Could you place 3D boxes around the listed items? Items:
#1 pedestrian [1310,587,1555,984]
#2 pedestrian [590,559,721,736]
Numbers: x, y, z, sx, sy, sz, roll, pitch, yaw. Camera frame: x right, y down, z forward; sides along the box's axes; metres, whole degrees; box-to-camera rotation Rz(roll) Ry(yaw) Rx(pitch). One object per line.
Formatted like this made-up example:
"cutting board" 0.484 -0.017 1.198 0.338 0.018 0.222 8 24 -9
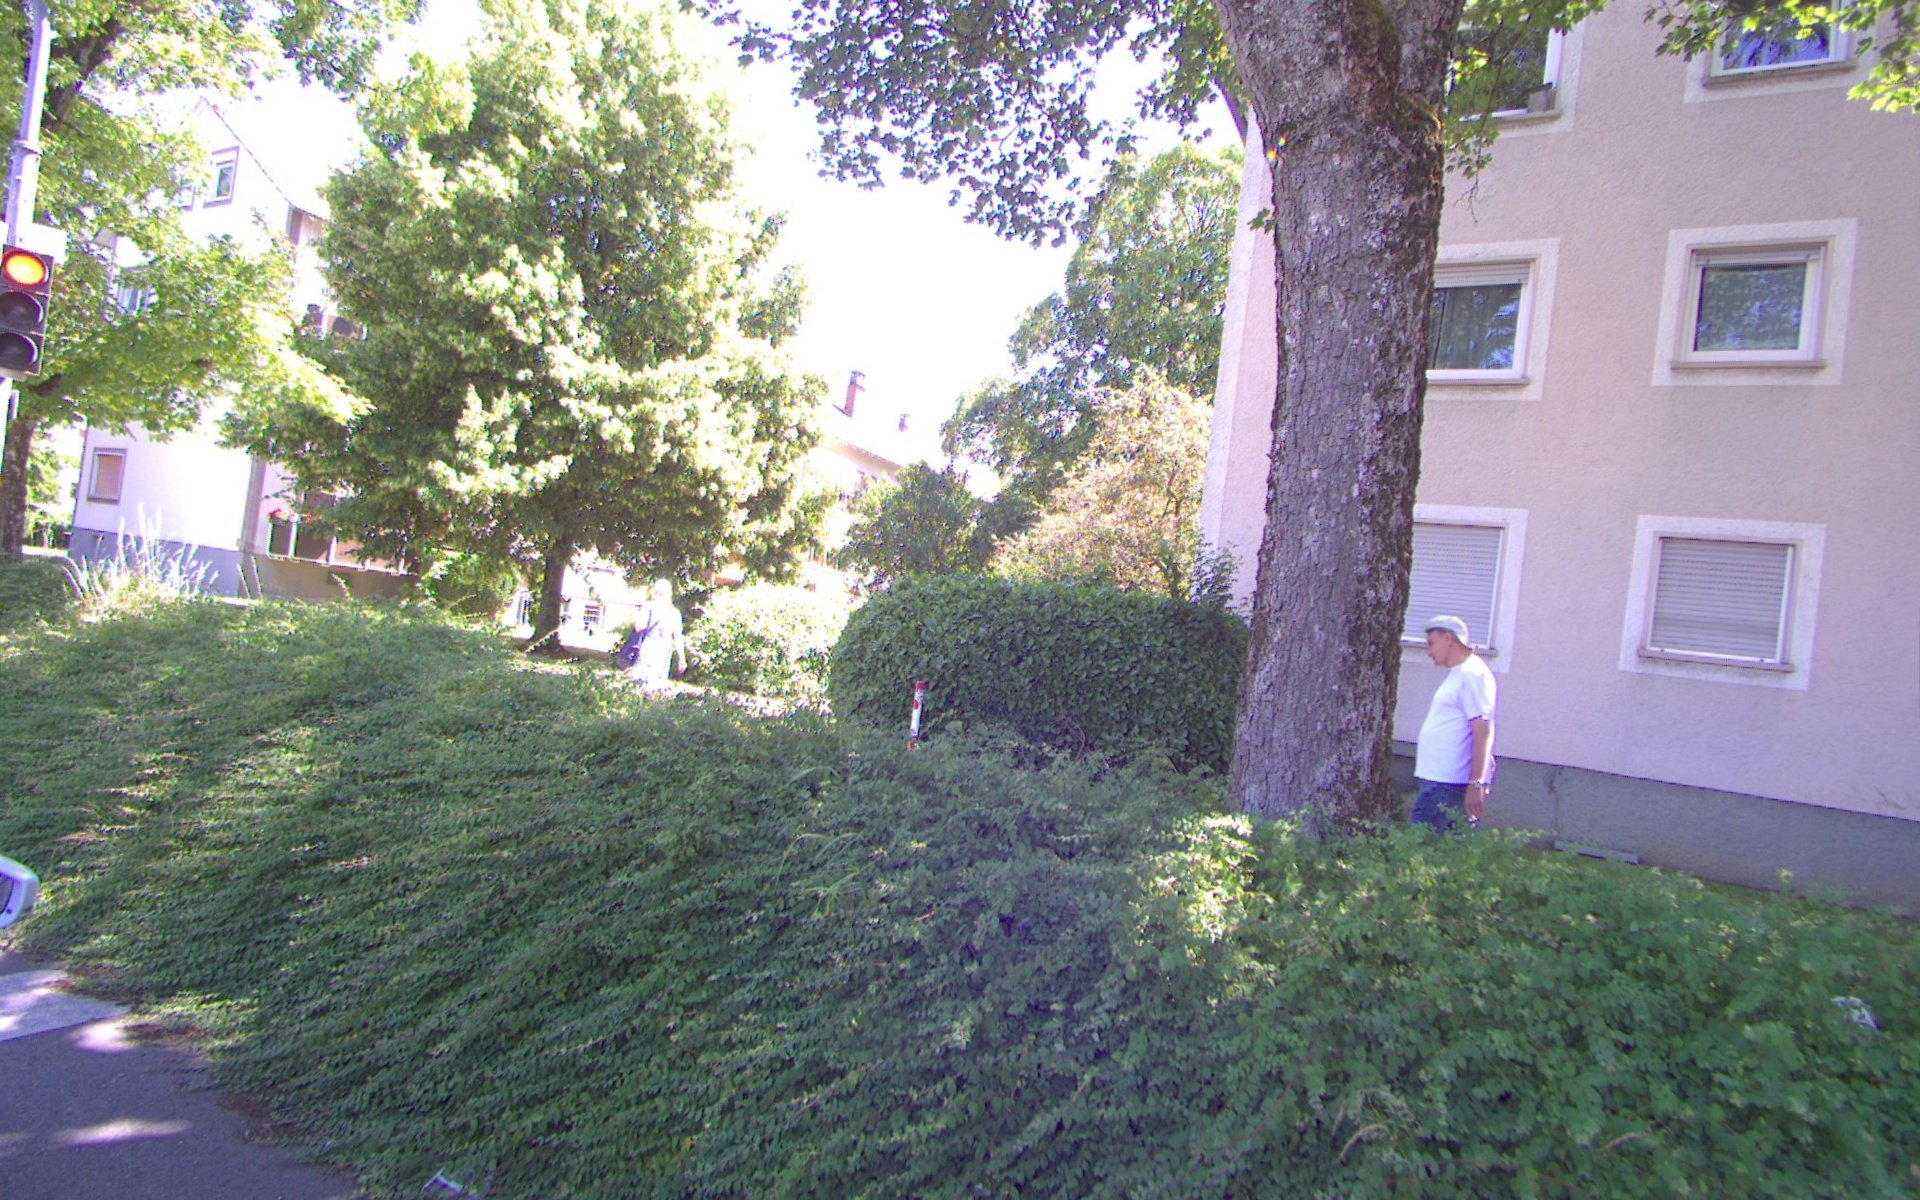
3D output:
"pedestrian" 2.525 0.954 5.470 0.886 1.893 0.675 7 -3 11
"pedestrian" -3.092 0.484 10.252 0.836 1.653 0.720 7 0 23
